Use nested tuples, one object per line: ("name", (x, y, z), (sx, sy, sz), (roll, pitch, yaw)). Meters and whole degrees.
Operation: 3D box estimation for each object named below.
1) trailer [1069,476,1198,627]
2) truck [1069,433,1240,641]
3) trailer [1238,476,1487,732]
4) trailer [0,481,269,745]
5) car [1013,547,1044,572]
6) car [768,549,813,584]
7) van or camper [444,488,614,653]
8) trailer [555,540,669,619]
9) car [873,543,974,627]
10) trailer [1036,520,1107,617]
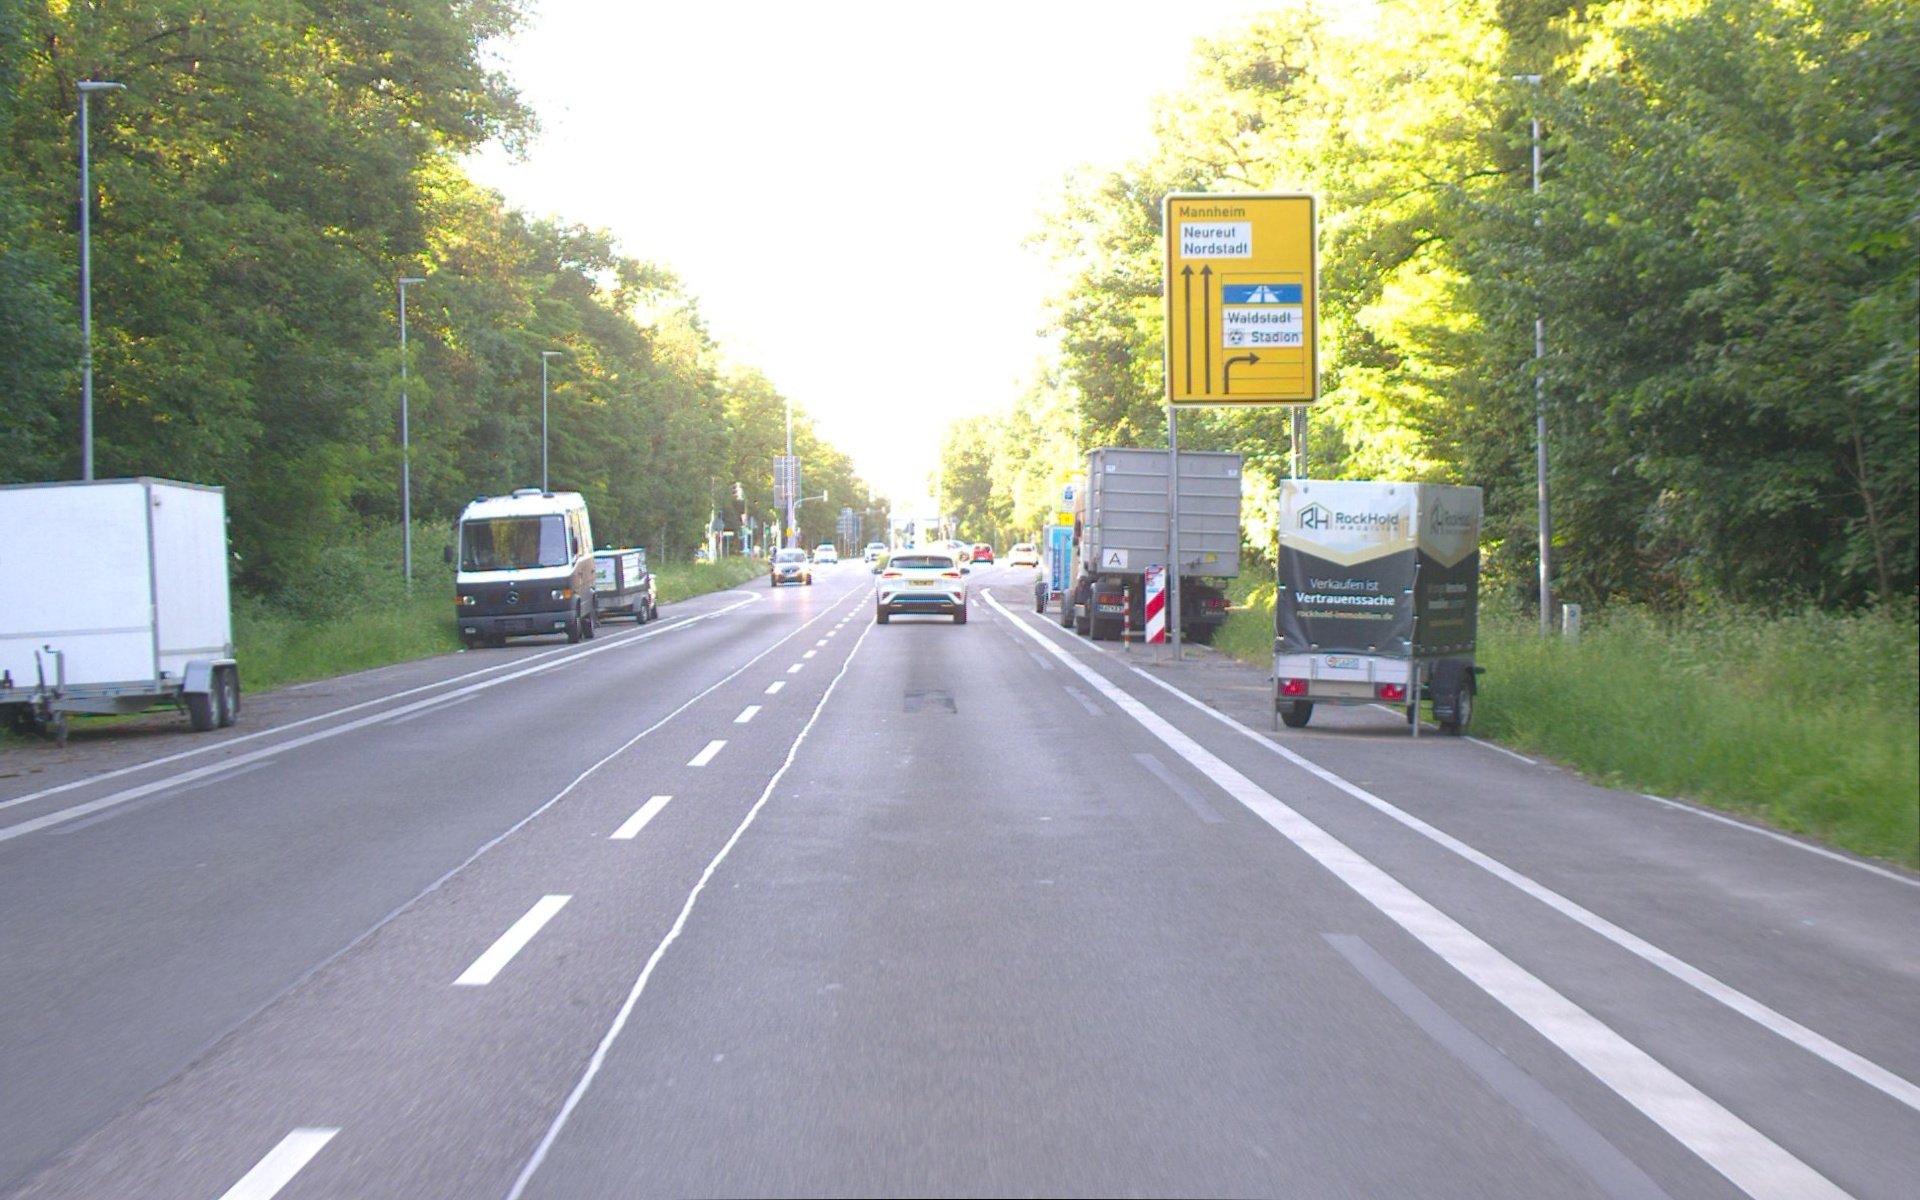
("trailer", (3.369, -0.965, 67.870), (2.272, 2.835, 5.207), (1, 1, 0))
("truck", (3.271, -1.056, 59.310), (2.505, 3.355, 7.107), (1, 1, 0))
("trailer", (3.507, 0.010, 29.712), (1.616, 2.105, 2.394), (1, 1, 20))
("trailer", (-7.880, 0.096, 31.966), (2.075, 2.285, 3.486), (-1, 1, 1))
("car", (4.658, -2.756, 234.043), (1.993, 1.612, 4.000), (1, 1, 0))
("car", (-7.083, -1.401, 143.844), (1.678, 1.411, 4.000), (-1, 1, 0))
("van or camper", (-7.777, -0.563, 62.570), (2.302, 2.758, 5.557), (-3, 1, 0))
("trailer", (-7.676, -0.475, 76.076), (1.471, 1.654, 3.364), (-2, 0, 12))
("car", (-0.746, -0.334, 70.167), (1.993, 1.634, 4.000), (-1, 1, -1))
("trailer", (2.663, -0.772, 82.782), (1.500, 2.228, 4.550), (1, 1, 0))
